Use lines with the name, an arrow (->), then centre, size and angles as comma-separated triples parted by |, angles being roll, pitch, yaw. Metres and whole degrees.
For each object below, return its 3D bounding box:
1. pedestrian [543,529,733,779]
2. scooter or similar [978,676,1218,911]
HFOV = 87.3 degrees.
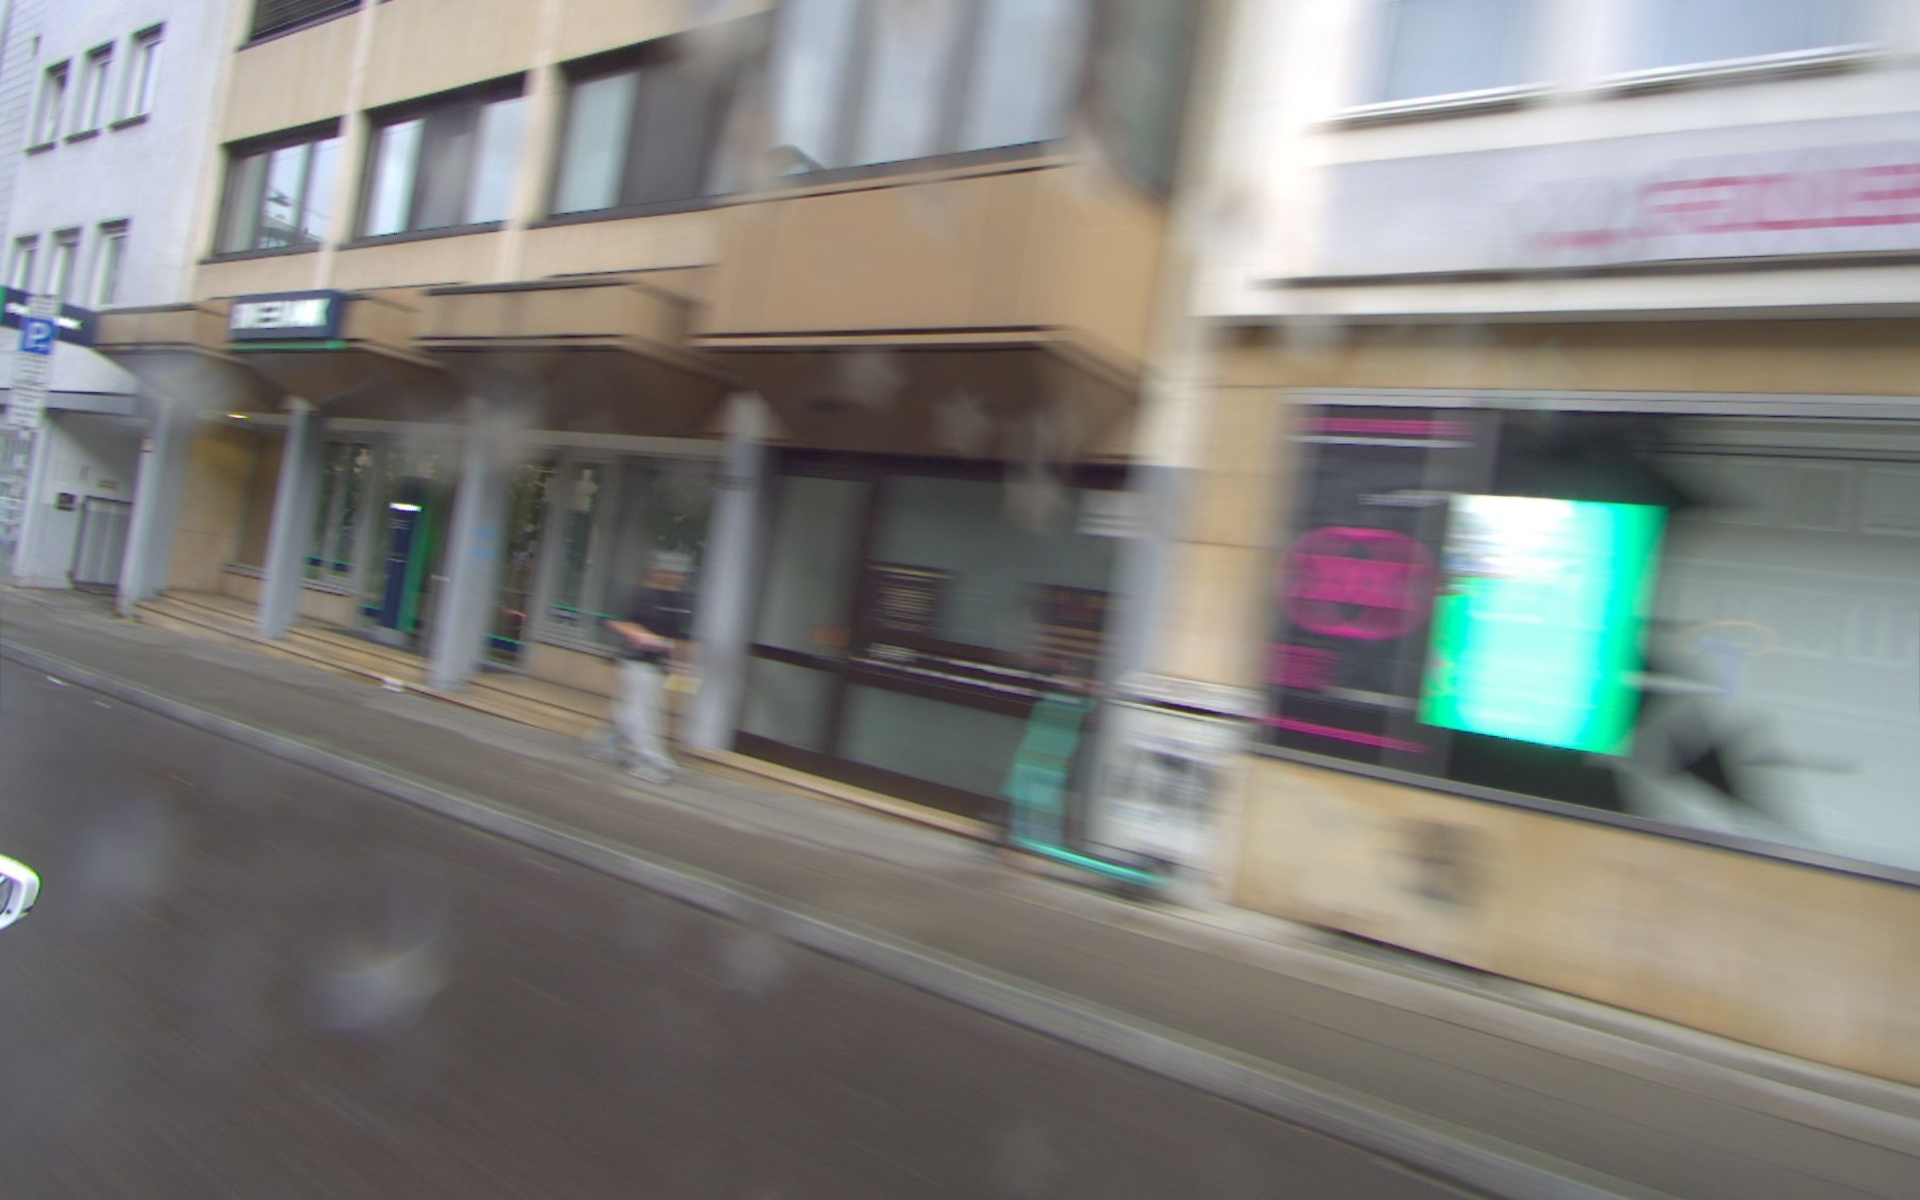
pedestrian -> -2.383, 0.390, 7.469 | 0.949, 1.671, 0.697 | 7, -1, 30
scooter or similar -> 0.769, 1.063, 5.721 | 1.211, 1.095, 0.210 | 7, -1, 23
